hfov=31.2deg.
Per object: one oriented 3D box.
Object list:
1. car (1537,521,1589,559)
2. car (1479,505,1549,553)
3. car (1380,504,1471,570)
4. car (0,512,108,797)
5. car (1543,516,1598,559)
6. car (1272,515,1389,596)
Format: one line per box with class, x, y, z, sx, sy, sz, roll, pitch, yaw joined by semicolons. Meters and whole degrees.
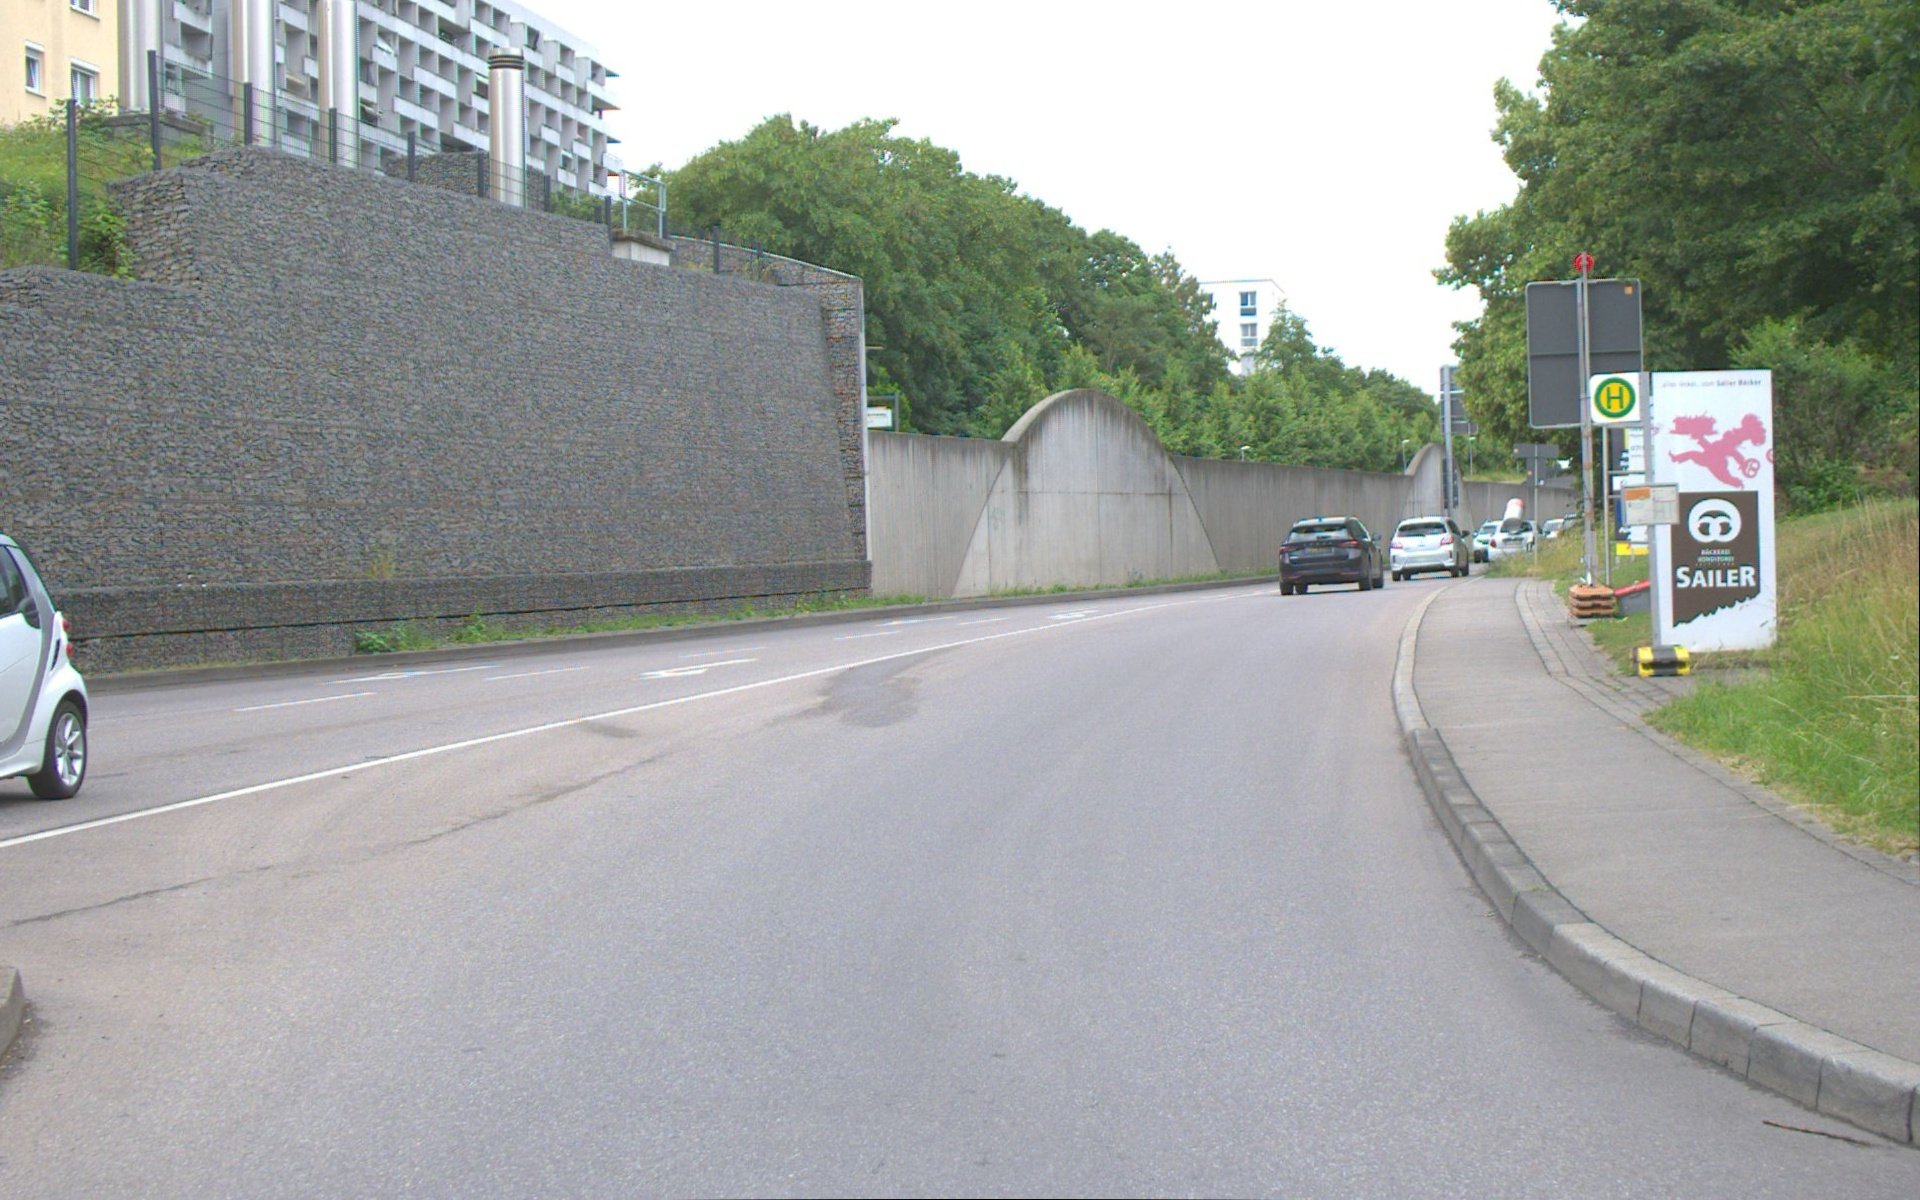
car;27.163;-2.706;154.747;1.891;1.626;4.423;-2;0;15
car;17.712;-2.249;109.829;1.868;1.485;4.254;0;1;14
car;11.373;-1.522;83.868;1.755;1.518;4.034;0;0;14
car;-5.891;0.288;18.521;1.544;1.518;2.913;0;2;8
car;23.512;-2.382;132.309;1.755;1.528;4.251;0;0;14
car;7.313;-0.856;67.633;1.755;1.518;4.034;0;0;14
